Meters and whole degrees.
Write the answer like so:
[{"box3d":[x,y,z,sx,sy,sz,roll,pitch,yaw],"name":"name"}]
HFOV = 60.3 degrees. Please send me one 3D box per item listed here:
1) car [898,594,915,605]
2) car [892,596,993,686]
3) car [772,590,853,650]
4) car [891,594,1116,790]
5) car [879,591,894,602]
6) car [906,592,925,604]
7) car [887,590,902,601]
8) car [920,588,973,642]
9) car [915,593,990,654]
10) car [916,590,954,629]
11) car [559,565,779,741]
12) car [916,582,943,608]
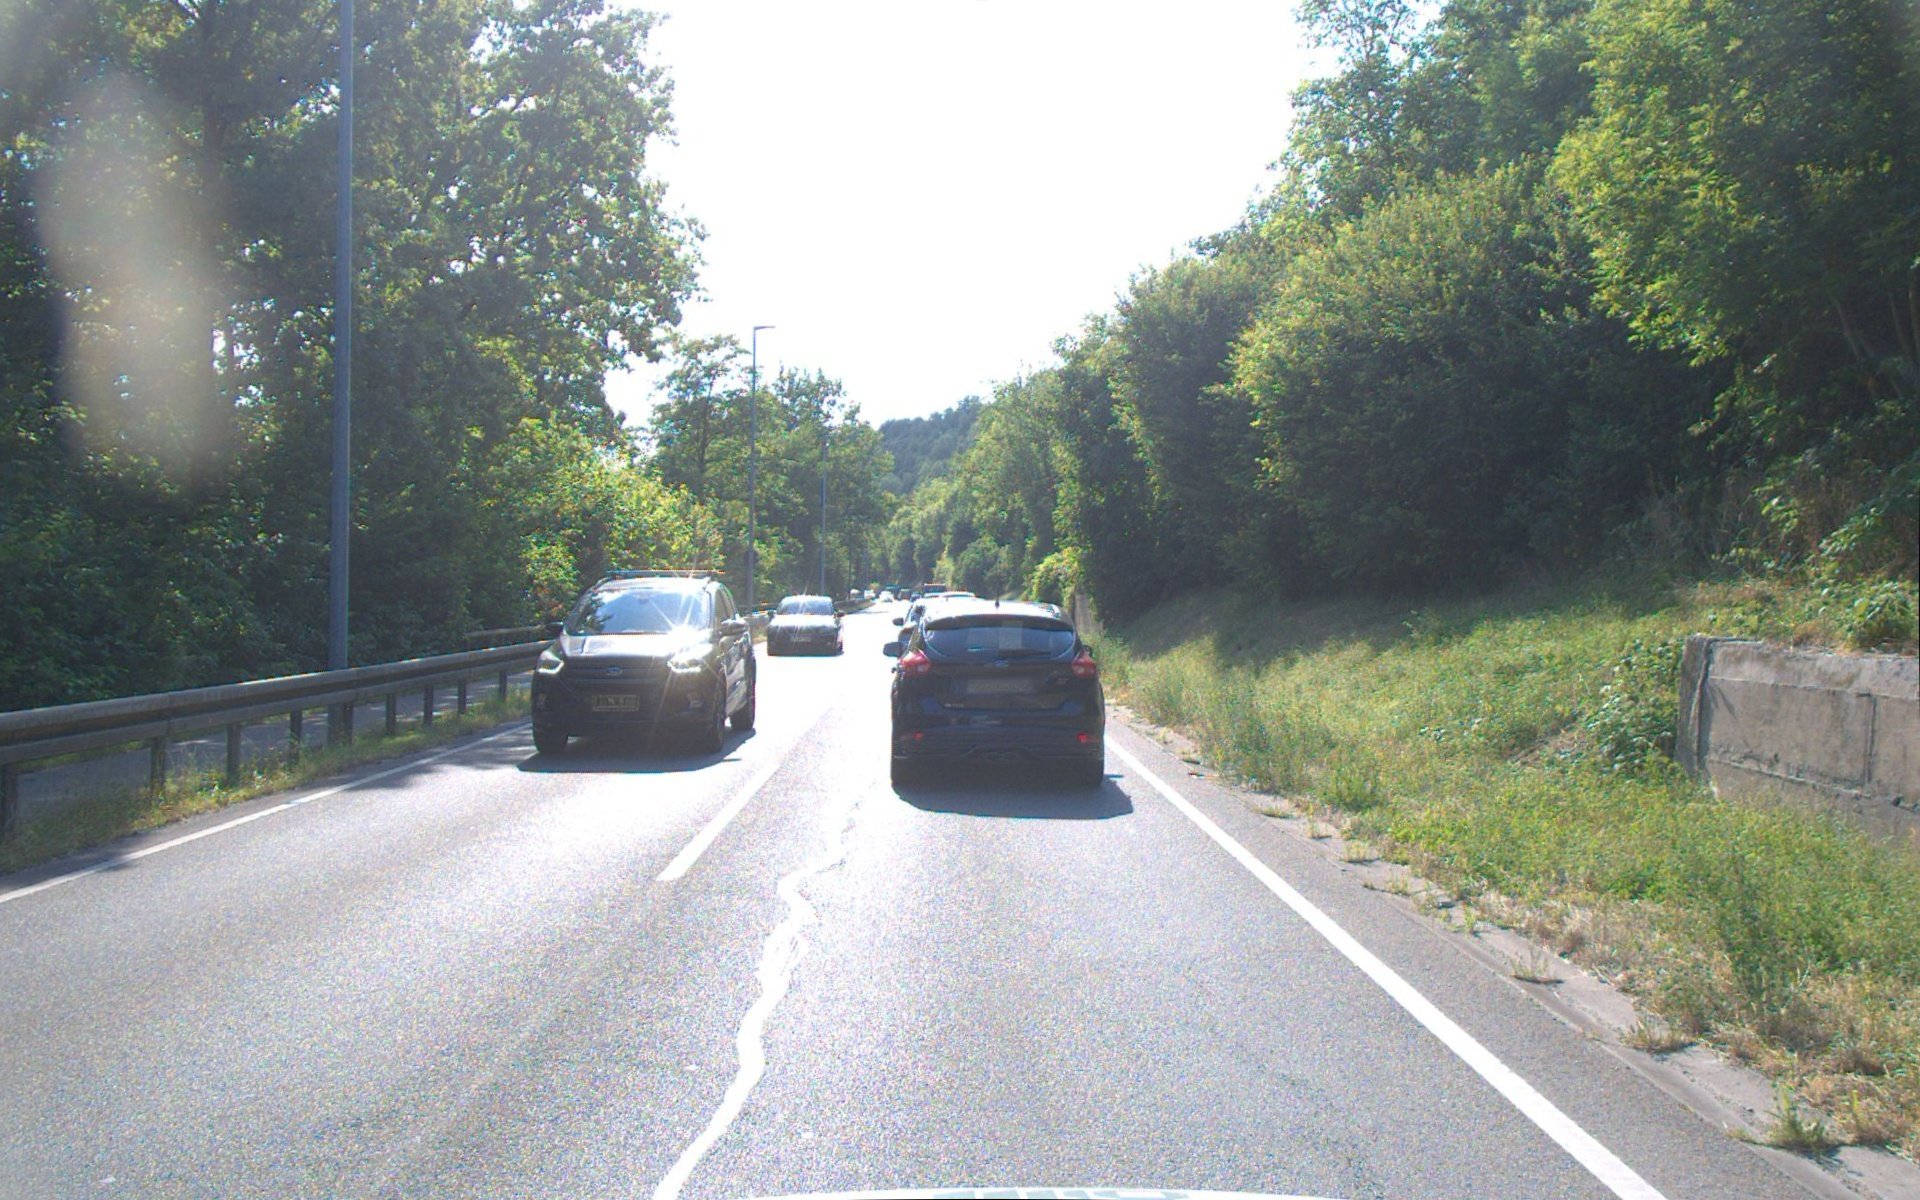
[{"box3d":[-7.632,-0.081,235.145,1.956,1.545,3.992,0,0,-8],"name":"car"},{"box3d":[-0.261,0.656,28.836,1.627,1.443,4.000,0,0,1],"name":"car"},{"box3d":[-3.785,0.486,42.973,1.657,1.445,4.142,-1,0,1],"name":"car"},{"box3d":[0.308,0.705,14.637,1.704,1.482,3.999,1,0,-1],"name":"car"},{"box3d":[-9.585,-0.493,214.841,1.592,1.401,4.040,-2,0,-8],"name":"car"},{"box3d":[-5.764,-0.299,214.048,1.956,1.545,3.993,0,0,-8],"name":"car"},{"box3d":[-9.884,-0.665,250.098,1.956,1.545,3.993,0,0,-8],"name":"car"},{"box3d":[-0.434,0.447,51.930,1.597,1.624,3.999,0,0,-1],"name":"car"},{"box3d":[-0.203,0.545,41.019,1.768,1.416,3.999,0,0,-1],"name":"car"},{"box3d":[-1.069,0.403,71.667,1.597,1.624,3.999,0,0,-1],"name":"car"},{"box3d":[-3.130,0.516,18.595,1.712,1.747,4.221,0,0,0],"name":"car"},{"box3d":[-2.247,-0.375,119.872,1.826,1.812,3.998,0,0,-3],"name":"car"}]
